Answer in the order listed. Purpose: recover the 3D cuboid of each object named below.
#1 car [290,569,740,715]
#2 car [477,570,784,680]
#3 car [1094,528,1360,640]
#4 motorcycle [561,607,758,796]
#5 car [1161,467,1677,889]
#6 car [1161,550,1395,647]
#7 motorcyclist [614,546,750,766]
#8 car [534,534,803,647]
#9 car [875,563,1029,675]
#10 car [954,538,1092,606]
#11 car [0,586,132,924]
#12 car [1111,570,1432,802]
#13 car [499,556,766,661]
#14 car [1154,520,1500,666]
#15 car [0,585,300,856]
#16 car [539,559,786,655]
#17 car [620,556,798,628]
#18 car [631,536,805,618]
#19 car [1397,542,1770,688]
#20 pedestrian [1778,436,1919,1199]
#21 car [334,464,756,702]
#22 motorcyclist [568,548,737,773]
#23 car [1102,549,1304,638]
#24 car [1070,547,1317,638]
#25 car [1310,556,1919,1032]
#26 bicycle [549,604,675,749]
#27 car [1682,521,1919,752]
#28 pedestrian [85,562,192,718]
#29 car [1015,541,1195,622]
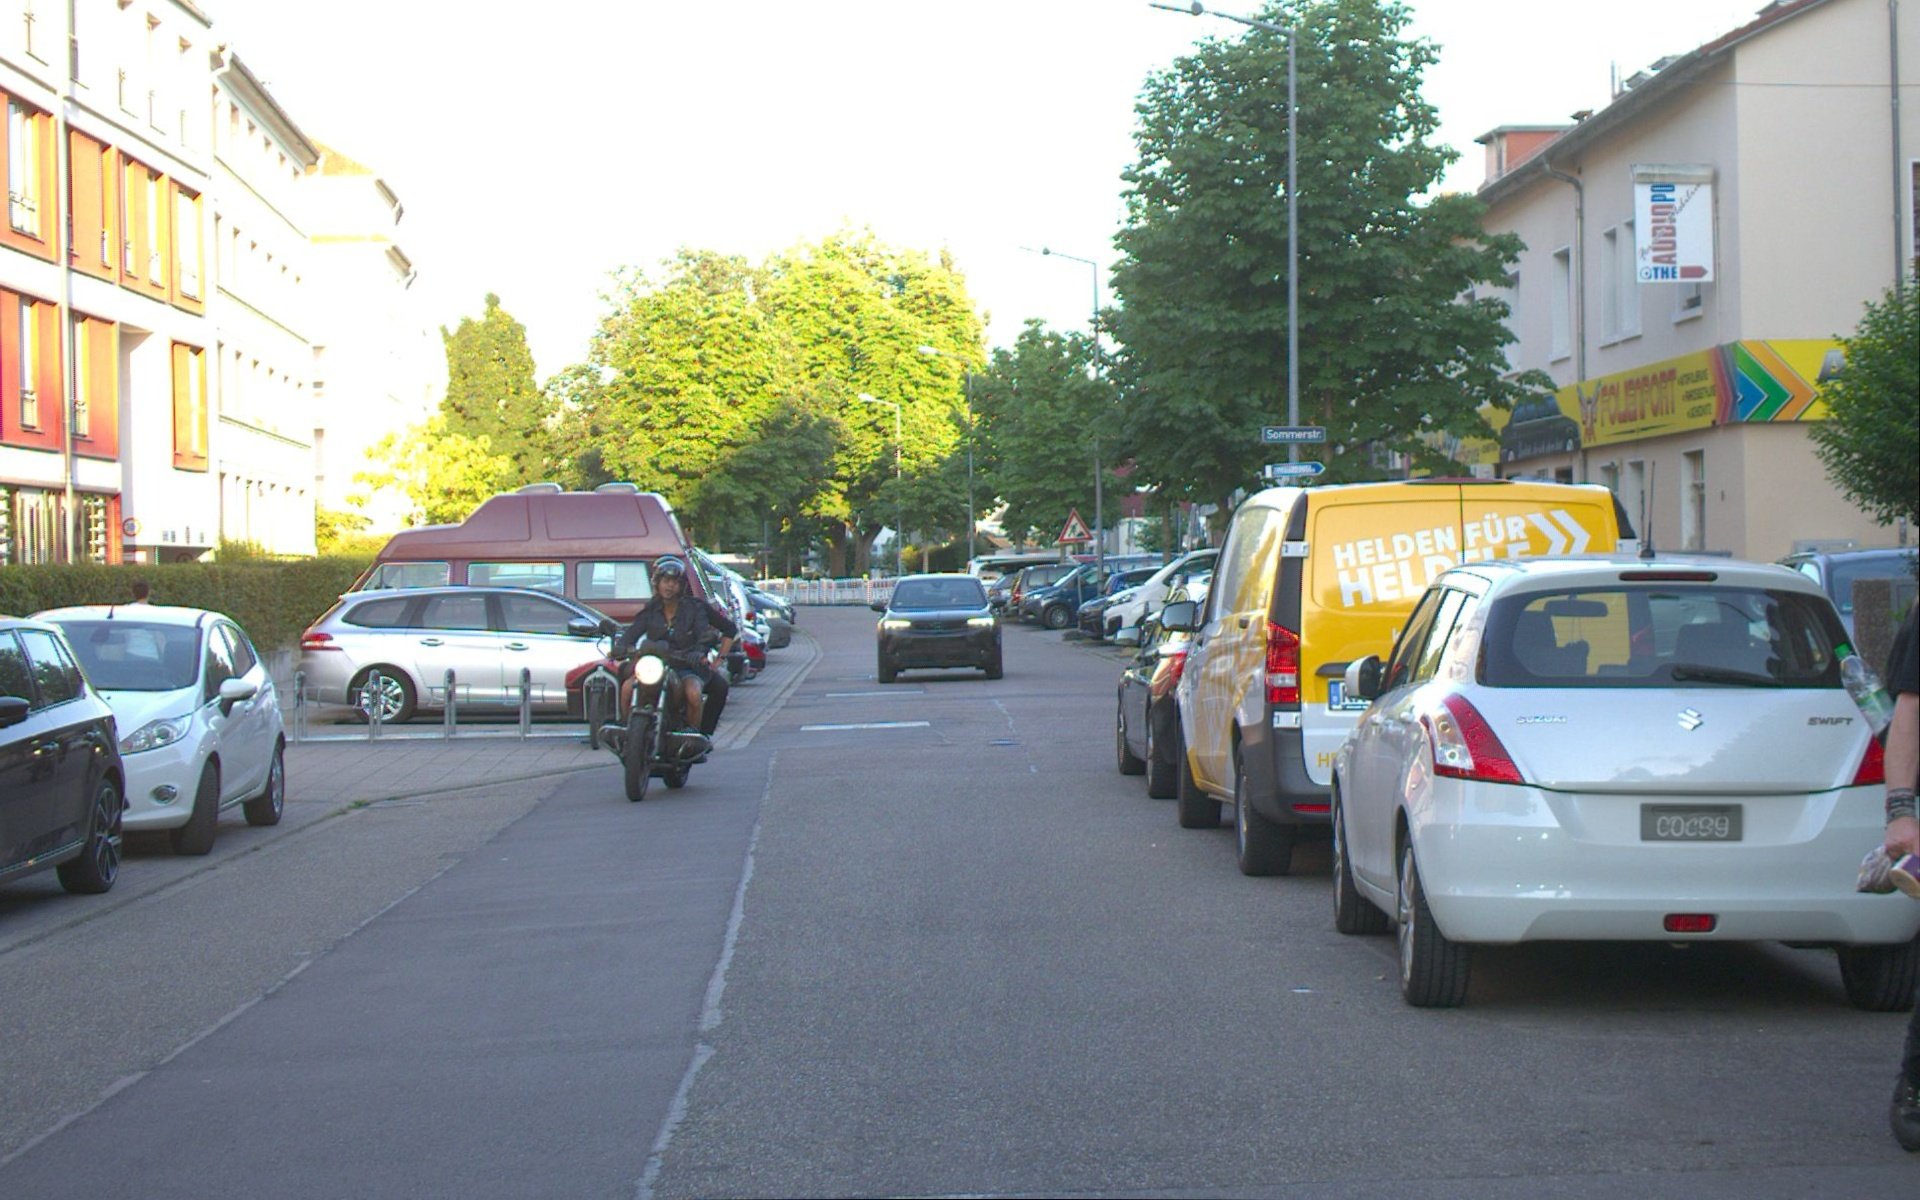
[{"bbox_3d":[-4.665,0.426,36.574,4.615,1.455,1.881,1,1,-4],"label":"car"},{"bbox_3d":[-4.694,0.339,49.329,4.209,1.485,1.850,1,1,0],"label":"car"},{"bbox_3d":[5.242,-0.319,67.929,4.943,1.951,2.049,-3,1,-2],"label":"car"},{"bbox_3d":[-2.098,0.688,24.308,0.846,1.205,2.074,-3,0,9],"label":"motorcycle"},{"bbox_3d":[2.196,0.320,17.866,1.893,1.877,5.082,0,1,-1],"label":"car"},{"bbox_3d":[5.595,-0.035,60.799,3.912,1.521,1.939,-3,1,0],"label":"car"},{"bbox_3d":[-2.007,0.398,24.829,0.787,1.535,0.545,-3,0,9],"label":"motorcyclist"},{"bbox_3d":[-5.403,-0.188,64.128,4.850,2.014,1.906,1,1,0],"label":"car"},{"bbox_3d":[-0.080,0.244,49.803,1.780,1.512,3.999,-2,0,6],"label":"car"},{"bbox_3d":[1.932,-0.865,105.889,3.967,1.905,2.049,-3,1,-5],"label":"car"},{"bbox_3d":[-5.246,0.711,16.399,1.703,1.529,3.844,0,1,-1],"label":"car"},{"bbox_3d":[2.031,0.516,23.508,1.721,1.419,4.253,1,1,-1],"label":"car"},{"bbox_3d":[-5.408,0.131,57.219,4.256,1.655,2.000,1,1,0],"label":"car"},{"bbox_3d":[5.569,-0.114,52.719,4.990,1.976,2.220,-3,1,0],"label":"car"},{"bbox_3d":[-5.250,0.679,21.642,1.650,1.525,4.018,0,1,-3],"label":"car"},{"bbox_3d":[-5.291,0.116,61.575,4.256,1.646,1.888,1,1,0],"label":"car"},{"bbox_3d":[-6.189,-0.198,85.222,4.256,1.709,2.000,1,1,0],"label":"car"},{"bbox_3d":[-6.503,-0.630,92.627,4.533,2.127,2.000,1,1,0],"label":"car"},{"bbox_3d":[7.309,0.159,40.581,4.050,1.509,1.756,-2,2,0],"label":"car"},{"bbox_3d":[2.418,0.503,7.927,0.888,1.716,0.958,1,0,6],"label":"pedestrian"},{"bbox_3d":[-4.671,-0.199,39.147,4.511,2.575,2.000,1,0,1],"label":"car"},{"bbox_3d":[-2.142,0.411,24.055,0.890,1.500,0.969,-3,0,9],"label":"motorcyclist"},{"bbox_3d":[5.464,-0.153,77.733,4.316,1.798,1.811,-3,0,-2],"label":"car"},{"bbox_3d":[4.910,-0.174,72.825,4.943,1.683,2.077,-3,1,-2],"label":"car"},{"bbox_3d":[2.261,0.578,12.573,1.674,1.472,3.861,0,1,2],"label":"car"},{"bbox_3d":[-3.140,0.667,31.283,0.808,1.217,2.865,1,1,1],"label":"bicycle"},{"bbox_3d":[6.365,0.182,23.531,1.726,1.419,4.424,-2,1,-2],"label":"car"},{"bbox_3d":[-8.029,0.383,33.626,0.832,1.496,0.798,1,0,0],"label":"pedestrian"},{"bbox_3d":[3.789,-0.500,90.301,4.478,1.905,1.688,-3,0,-5],"label":"car"}]
